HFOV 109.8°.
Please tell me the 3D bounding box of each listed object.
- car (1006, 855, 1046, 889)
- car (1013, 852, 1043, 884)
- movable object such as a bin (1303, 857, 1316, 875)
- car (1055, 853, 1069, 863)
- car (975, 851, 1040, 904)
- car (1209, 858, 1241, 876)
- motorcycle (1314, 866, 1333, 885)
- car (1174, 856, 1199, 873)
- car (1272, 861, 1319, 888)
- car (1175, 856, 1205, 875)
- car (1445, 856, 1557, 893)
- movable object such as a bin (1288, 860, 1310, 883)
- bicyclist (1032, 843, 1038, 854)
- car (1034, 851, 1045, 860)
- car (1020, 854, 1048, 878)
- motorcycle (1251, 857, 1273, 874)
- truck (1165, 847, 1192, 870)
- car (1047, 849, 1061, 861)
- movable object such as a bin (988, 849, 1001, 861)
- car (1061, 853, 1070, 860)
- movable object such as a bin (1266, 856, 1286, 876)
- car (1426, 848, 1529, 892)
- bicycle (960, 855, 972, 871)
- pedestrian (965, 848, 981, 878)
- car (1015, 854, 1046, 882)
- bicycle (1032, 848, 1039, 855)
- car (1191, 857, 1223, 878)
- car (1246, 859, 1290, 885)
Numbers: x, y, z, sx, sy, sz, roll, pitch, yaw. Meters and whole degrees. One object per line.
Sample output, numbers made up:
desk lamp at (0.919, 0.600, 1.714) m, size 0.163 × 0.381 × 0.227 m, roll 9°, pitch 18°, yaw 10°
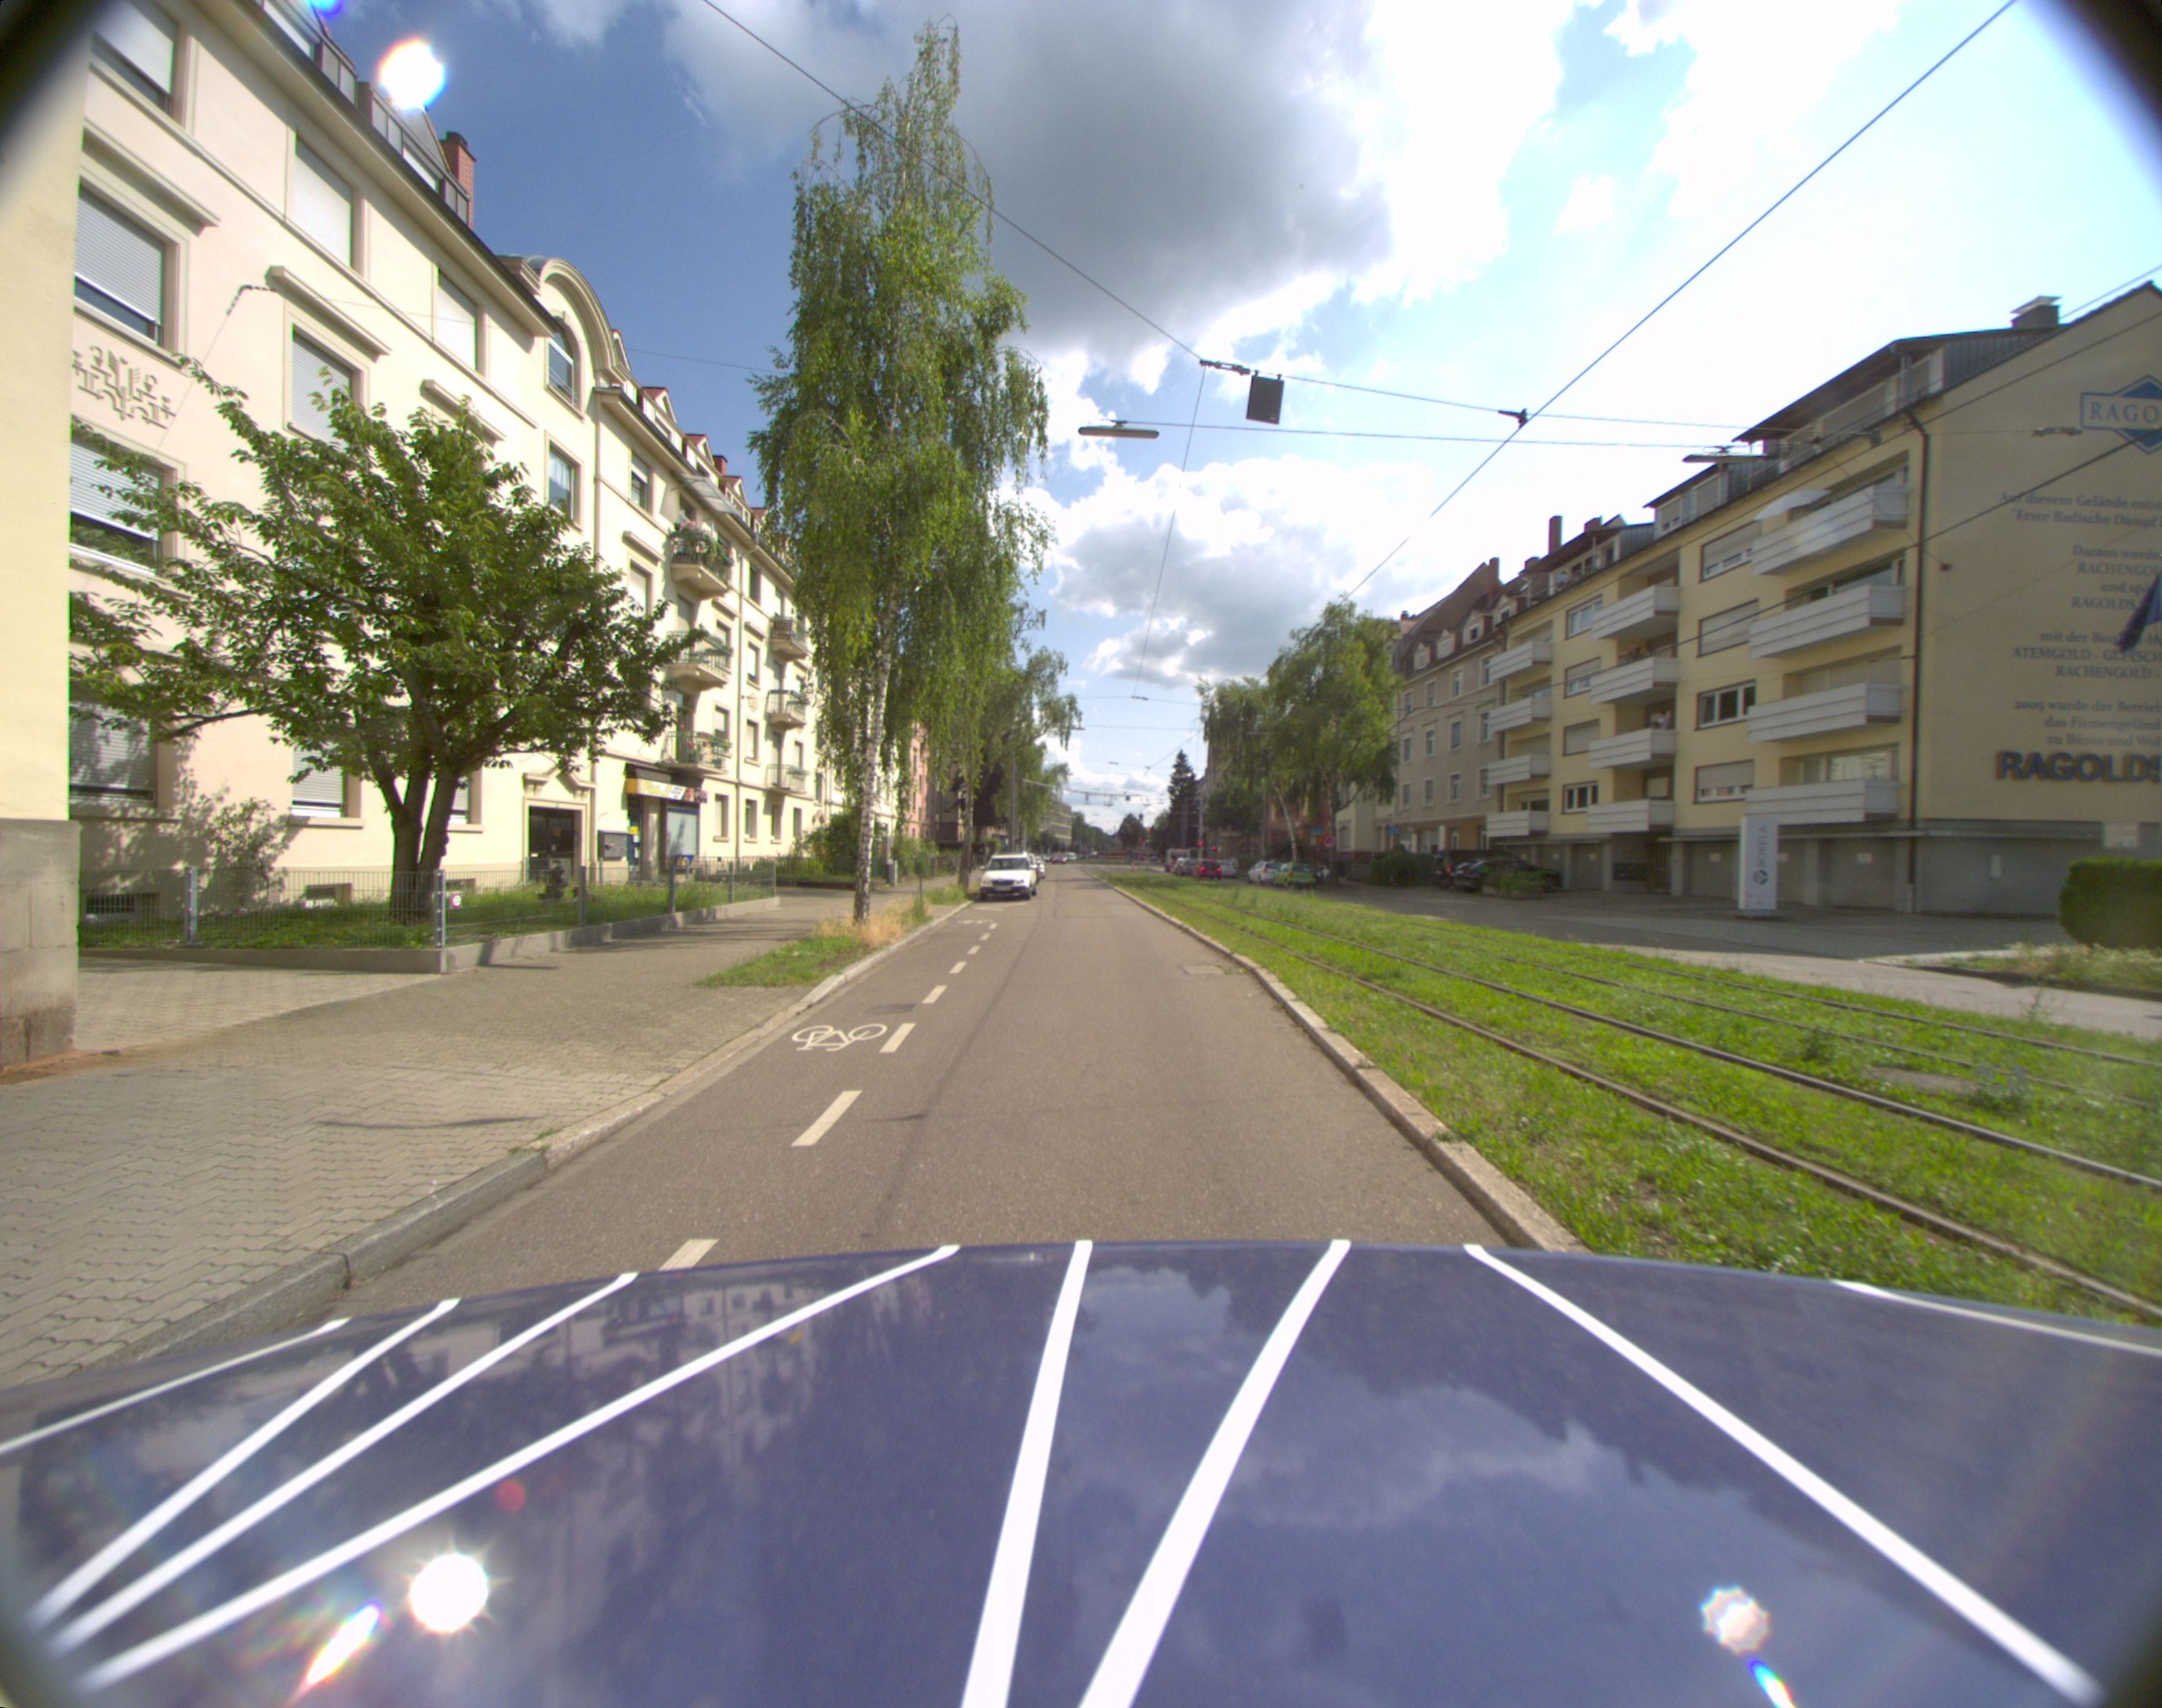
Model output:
car at (-2.484, 0.793, 35.183) m, size 1.677 × 1.409 × 3.794 m, roll -2°, pitch 1°, yaw -2°
car at (-2.729, 0.703, 39.637) m, size 1.497 × 1.570 × 3.758 m, roll -1°, pitch 0°, yaw -3°
movable object such as a bin at (17.414, 0.875, 57.908) m, size 0.675 × 1.354 × 0.699 m, roll 1°, pitch 1°, yaw -5°
car at (-2.631, 0.529, 107.696) m, size 1.741 × 1.313 × 4.000 m, roll -1°, pitch 0°, yaw 2°
car at (-2.446, 0.725, 26.049) m, size 1.725 × 1.620 × 4.000 m, roll -1°, pitch 0°, yaw 1°
car at (11.628, 1.024, 61.627) m, size 1.759 × 1.348 × 3.994 m, roll 2°, pitch 0°, yaw 0°
motorcycle at (14.349, 1.250, 45.015) m, size 0.500 × 1.037 × 1.632 m, roll -2°, pitch 2°, yaw -2°
car at (9.385, 0.903, 67.892) m, size 1.759 × 1.406 × 4.134 m, roll 3°, pitch 1°, yaw 3°
car at (12.117, 1.137, 43.148) m, size 1.598 × 1.423 × 3.614 m, roll 2°, pitch 0°, yaw -1°
car at (8.769, 0.887, 61.564) m, size 1.759 × 1.348 × 4.511 m, roll 3°, pitch 1°, yaw 0°
car at (19.022, 0.900, 34.513) m, size 3.997 × 1.593 × 1.972 m, roll -1°, pitch 0°, yaw -1°
movable object such as a bin at (14.197, 1.150, 49.498) m, size 0.953 × 1.421 × 1.521 m, roll -1°, pitch 0°, yaw -2°
bicyclist at (-6.833, -0.835, 113.227) m, size 0.665 × 1.679 × 0.857 m, roll 2°, pitch 1°, yaw 4°
car at (-7.937, 0.267, 144.621) m, size 1.999 × 1.730 × 3.999 m, roll 1°, pitch 0°, yaw -3°
car at (-3.018, 0.750, 49.259) m, size 1.624 × 1.444 × 3.917 m, roll -3°, pitch 1°, yaw -2°
motorcycle at (13.994, 0.875, 58.810) m, size 0.903 × 1.235 × 2.293 m, roll 1°, pitch 0°, yaw -7°
truck at (9.910, 0.411, 77.411) m, size 2.190 × 2.201 × 6.613 m, roll 2°, pitch 0°, yaw 3°
car at (-4.484, 0.124, 127.118) m, size 1.998 × 2.002 × 4.000 m, roll 1°, pitch 0°, yaw 1°
movable object such as a bin at (-10.367, 0.125, 91.206) m, size 1.305 × 1.483 × 2.000 m, roll 1°, pitch 0°, yaw -1°
car at (-3.142, 0.481, 152.836) m, size 1.619 × 1.265 × 4.000 m, roll 0°, pitch 0°, yaw 2°
movable object such as a bin at (14.368, 0.875, 55.973) m, size 0.953 × 1.359 × 1.521 m, roll -4°, pitch 1°, yaw -2°
car at (19.357, 0.765, 37.233) m, size 3.996 × 2.002 × 1.937 m, roll -1°, pitch 0°, yaw 2°
bicycle at (-7.916, 0.596, 52.312) m, size 0.472 × 1.071 × 2.182 m, roll 1°, pitch 0°, yaw 0°
pedestrian at (-6.218, 0.509, 43.649) m, size 0.731 × 1.673 × 0.691 m, roll 3°, pitch 1°, yaw 2°
car at (-2.900, 0.769, 44.224) m, size 1.593 × 1.444 × 3.843 m, roll -3°, pitch 1°, yaw -2°
bicycle at (-6.845, -0.371, 113.237) m, size 0.771 × 0.885 × 1.892 m, roll 1°, pitch 0°, yaw 4°
car at (8.966, 0.971, 54.356) m, size 1.583 × 1.378 × 3.692 m, roll 2°, pitch 0°, yaw -1°
car at (11.855, 1.122, 48.337) m, size 1.649 × 1.469 × 4.225 m, roll 3°, pitch 0°, yaw -1°
